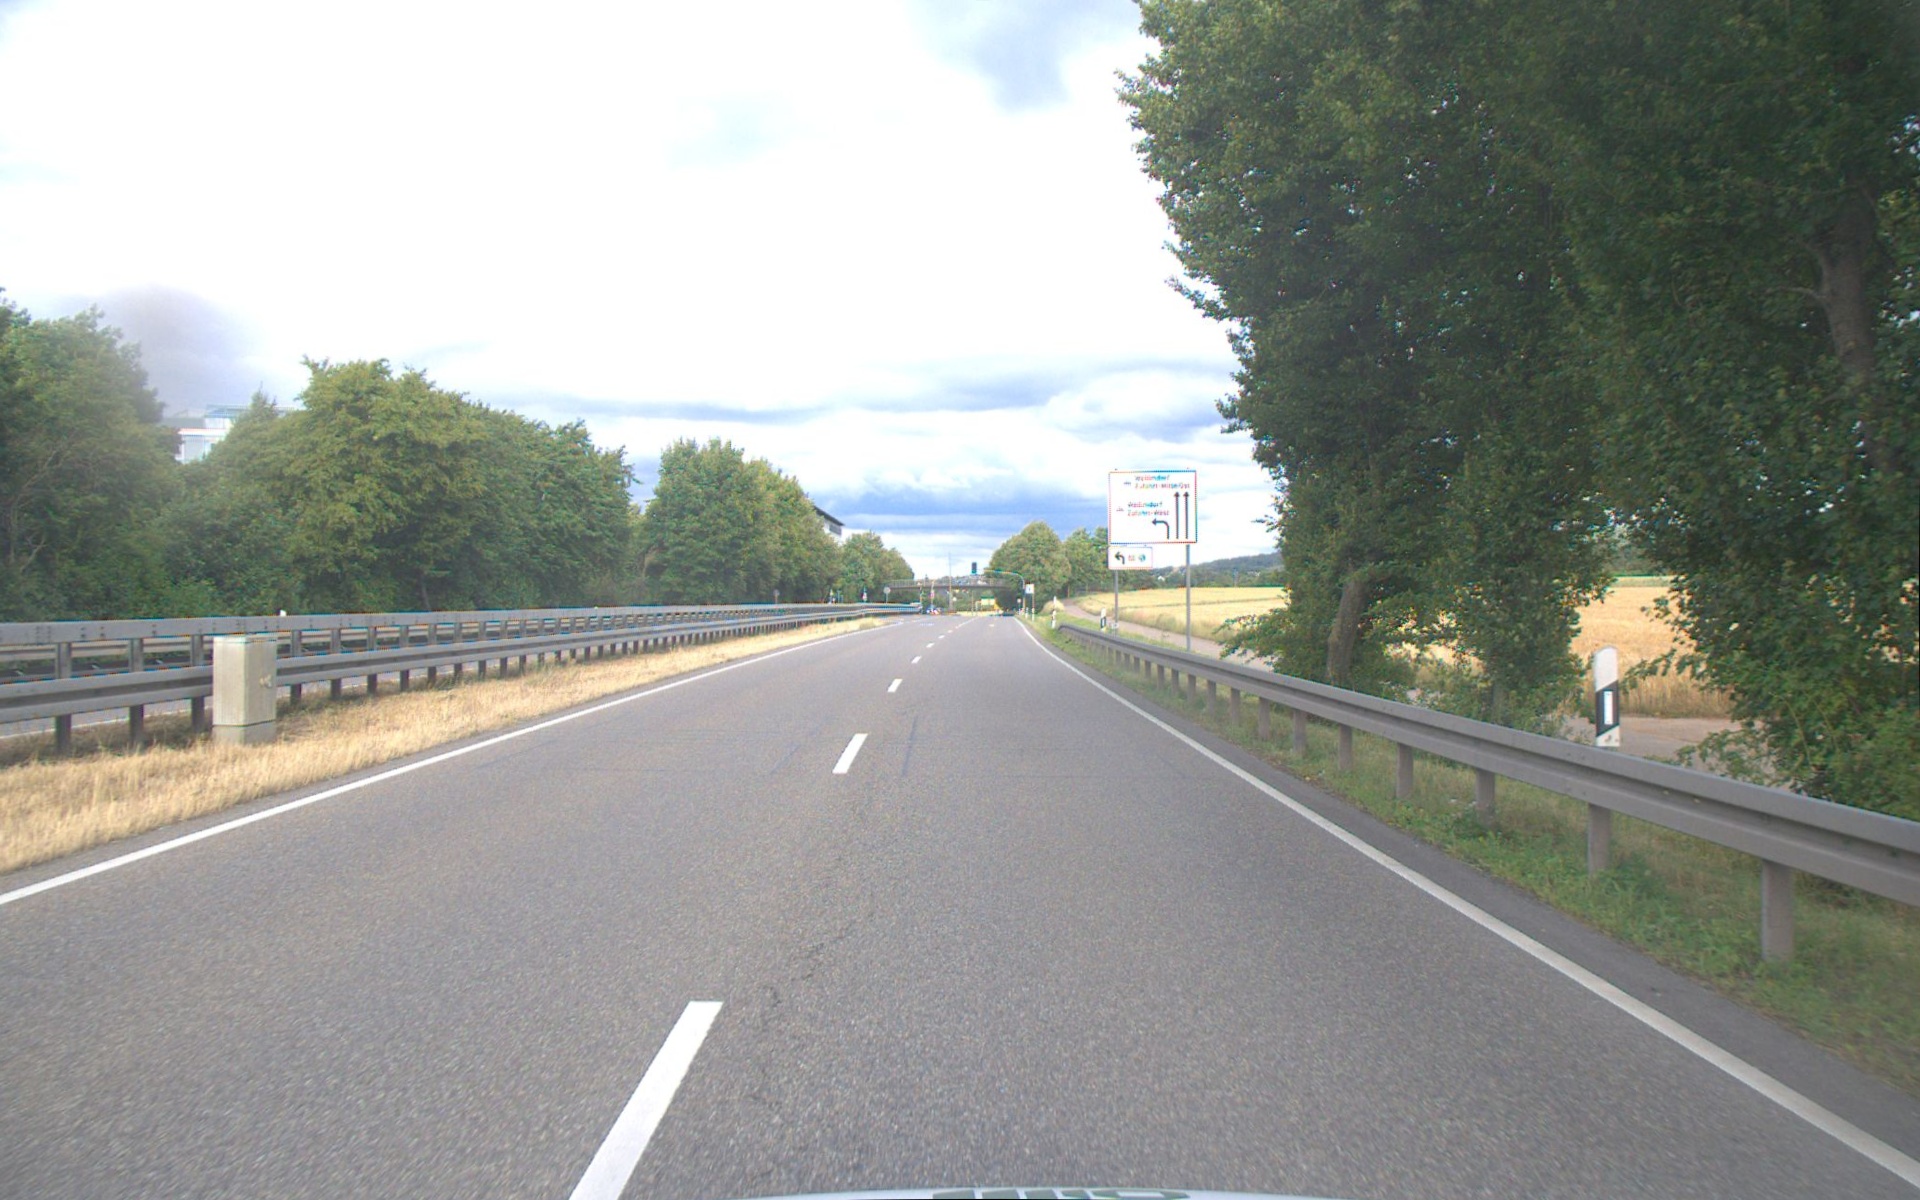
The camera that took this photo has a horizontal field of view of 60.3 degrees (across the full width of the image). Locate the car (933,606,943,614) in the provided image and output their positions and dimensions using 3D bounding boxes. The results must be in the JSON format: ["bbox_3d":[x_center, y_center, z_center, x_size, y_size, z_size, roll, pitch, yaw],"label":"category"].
[{"bbox_3d":[-3.298,1.483,244.784,1.329,1.111,2.922,0,0,2],"label":"car"}]
